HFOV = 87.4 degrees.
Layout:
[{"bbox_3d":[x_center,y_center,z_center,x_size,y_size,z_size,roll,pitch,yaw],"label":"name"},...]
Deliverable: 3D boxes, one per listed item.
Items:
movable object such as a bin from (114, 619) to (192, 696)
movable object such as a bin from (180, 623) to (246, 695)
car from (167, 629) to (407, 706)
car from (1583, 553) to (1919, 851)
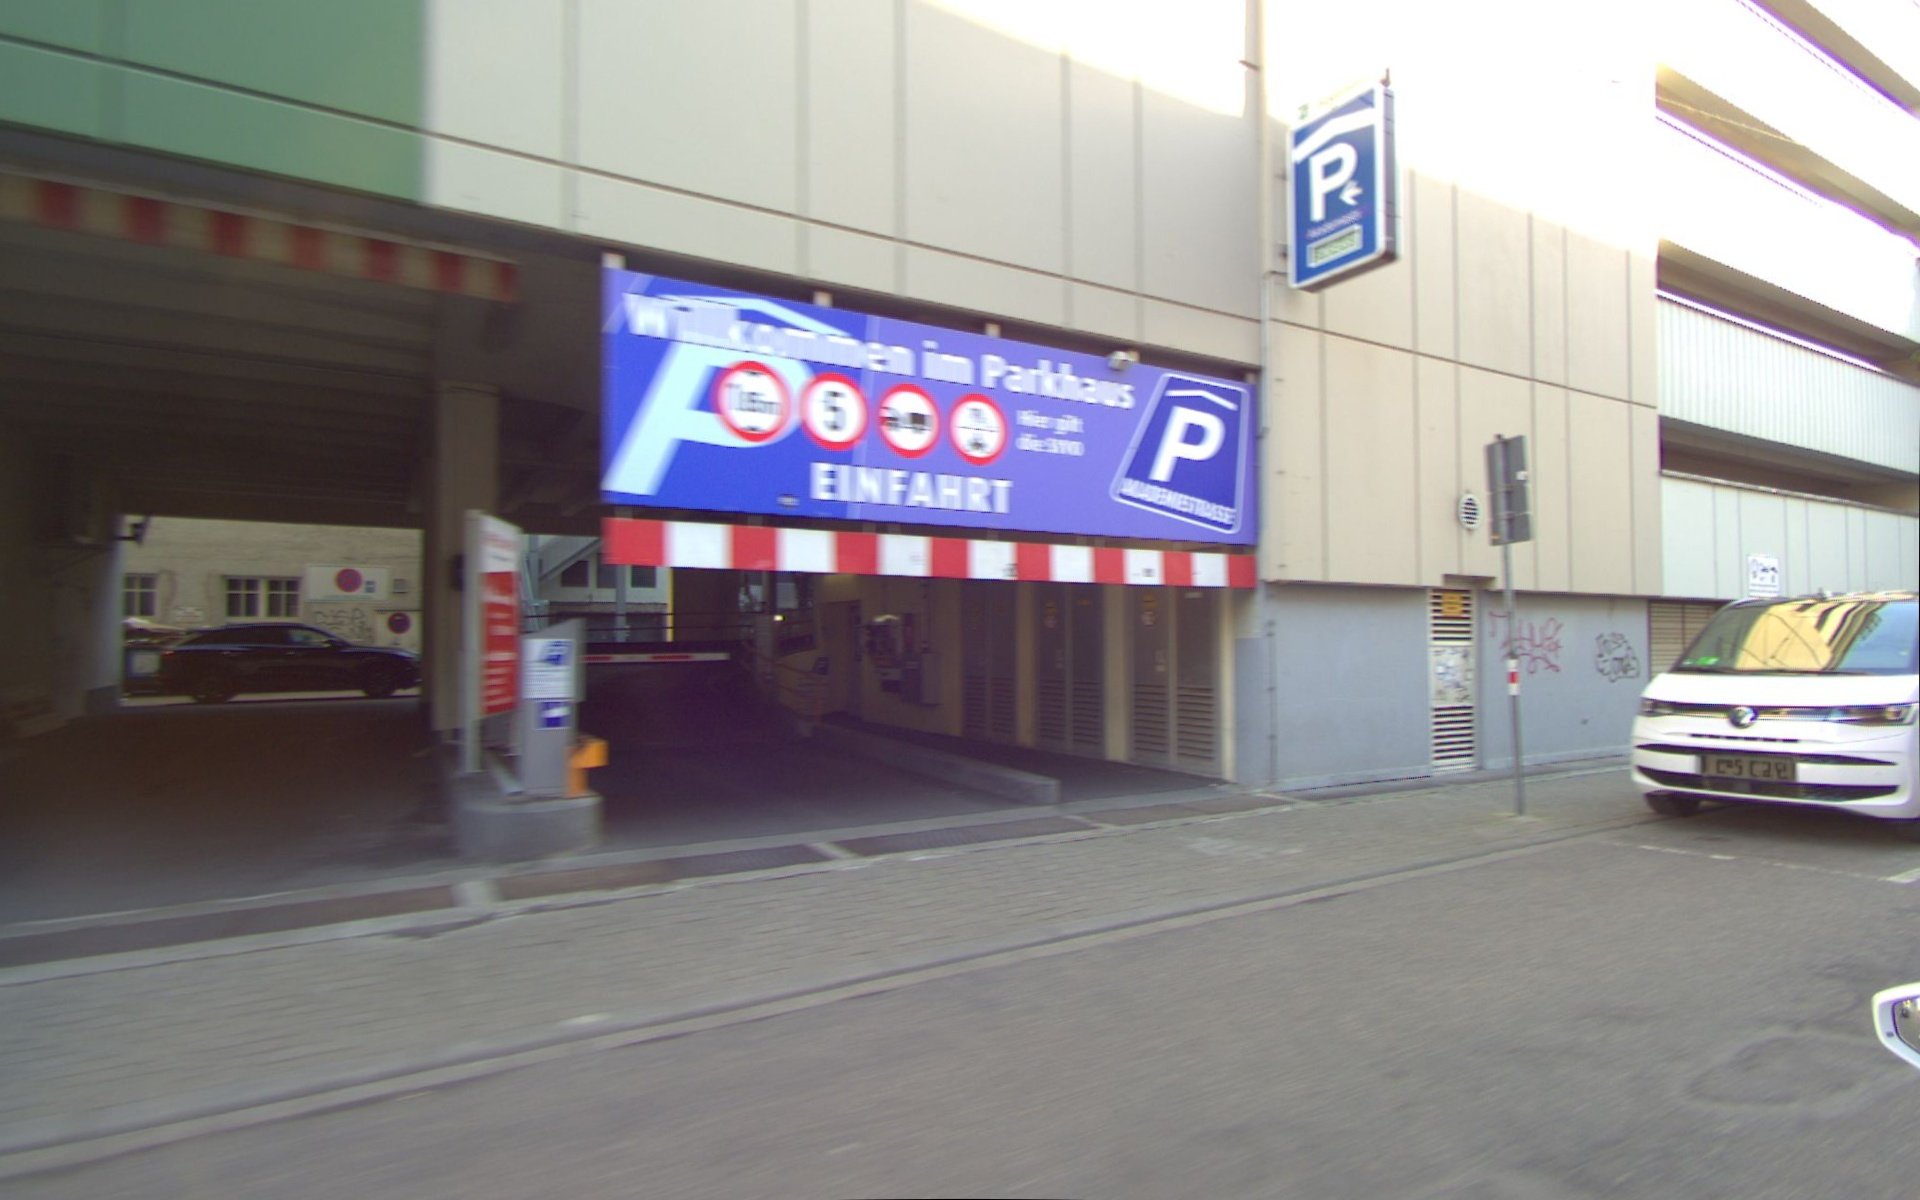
[{"bbox_3d":[-19.669,1.371,24.522,1.258,1.780,1.355,1,-1,-30],"label":"movable object such as a bin"},{"bbox_3d":[-18.647,1.437,25.106,1.148,1.737,1.290,1,-1,-30],"label":"movable object such as a bin"},{"bbox_3d":[-14.350,1.421,21.707,4.158,1.489,1.619,2,-1,-31],"label":"car"},{"bbox_3d":[7.754,0.777,8.797,4.798,1.965,1.983,1,-4,-33],"label":"car"}]
